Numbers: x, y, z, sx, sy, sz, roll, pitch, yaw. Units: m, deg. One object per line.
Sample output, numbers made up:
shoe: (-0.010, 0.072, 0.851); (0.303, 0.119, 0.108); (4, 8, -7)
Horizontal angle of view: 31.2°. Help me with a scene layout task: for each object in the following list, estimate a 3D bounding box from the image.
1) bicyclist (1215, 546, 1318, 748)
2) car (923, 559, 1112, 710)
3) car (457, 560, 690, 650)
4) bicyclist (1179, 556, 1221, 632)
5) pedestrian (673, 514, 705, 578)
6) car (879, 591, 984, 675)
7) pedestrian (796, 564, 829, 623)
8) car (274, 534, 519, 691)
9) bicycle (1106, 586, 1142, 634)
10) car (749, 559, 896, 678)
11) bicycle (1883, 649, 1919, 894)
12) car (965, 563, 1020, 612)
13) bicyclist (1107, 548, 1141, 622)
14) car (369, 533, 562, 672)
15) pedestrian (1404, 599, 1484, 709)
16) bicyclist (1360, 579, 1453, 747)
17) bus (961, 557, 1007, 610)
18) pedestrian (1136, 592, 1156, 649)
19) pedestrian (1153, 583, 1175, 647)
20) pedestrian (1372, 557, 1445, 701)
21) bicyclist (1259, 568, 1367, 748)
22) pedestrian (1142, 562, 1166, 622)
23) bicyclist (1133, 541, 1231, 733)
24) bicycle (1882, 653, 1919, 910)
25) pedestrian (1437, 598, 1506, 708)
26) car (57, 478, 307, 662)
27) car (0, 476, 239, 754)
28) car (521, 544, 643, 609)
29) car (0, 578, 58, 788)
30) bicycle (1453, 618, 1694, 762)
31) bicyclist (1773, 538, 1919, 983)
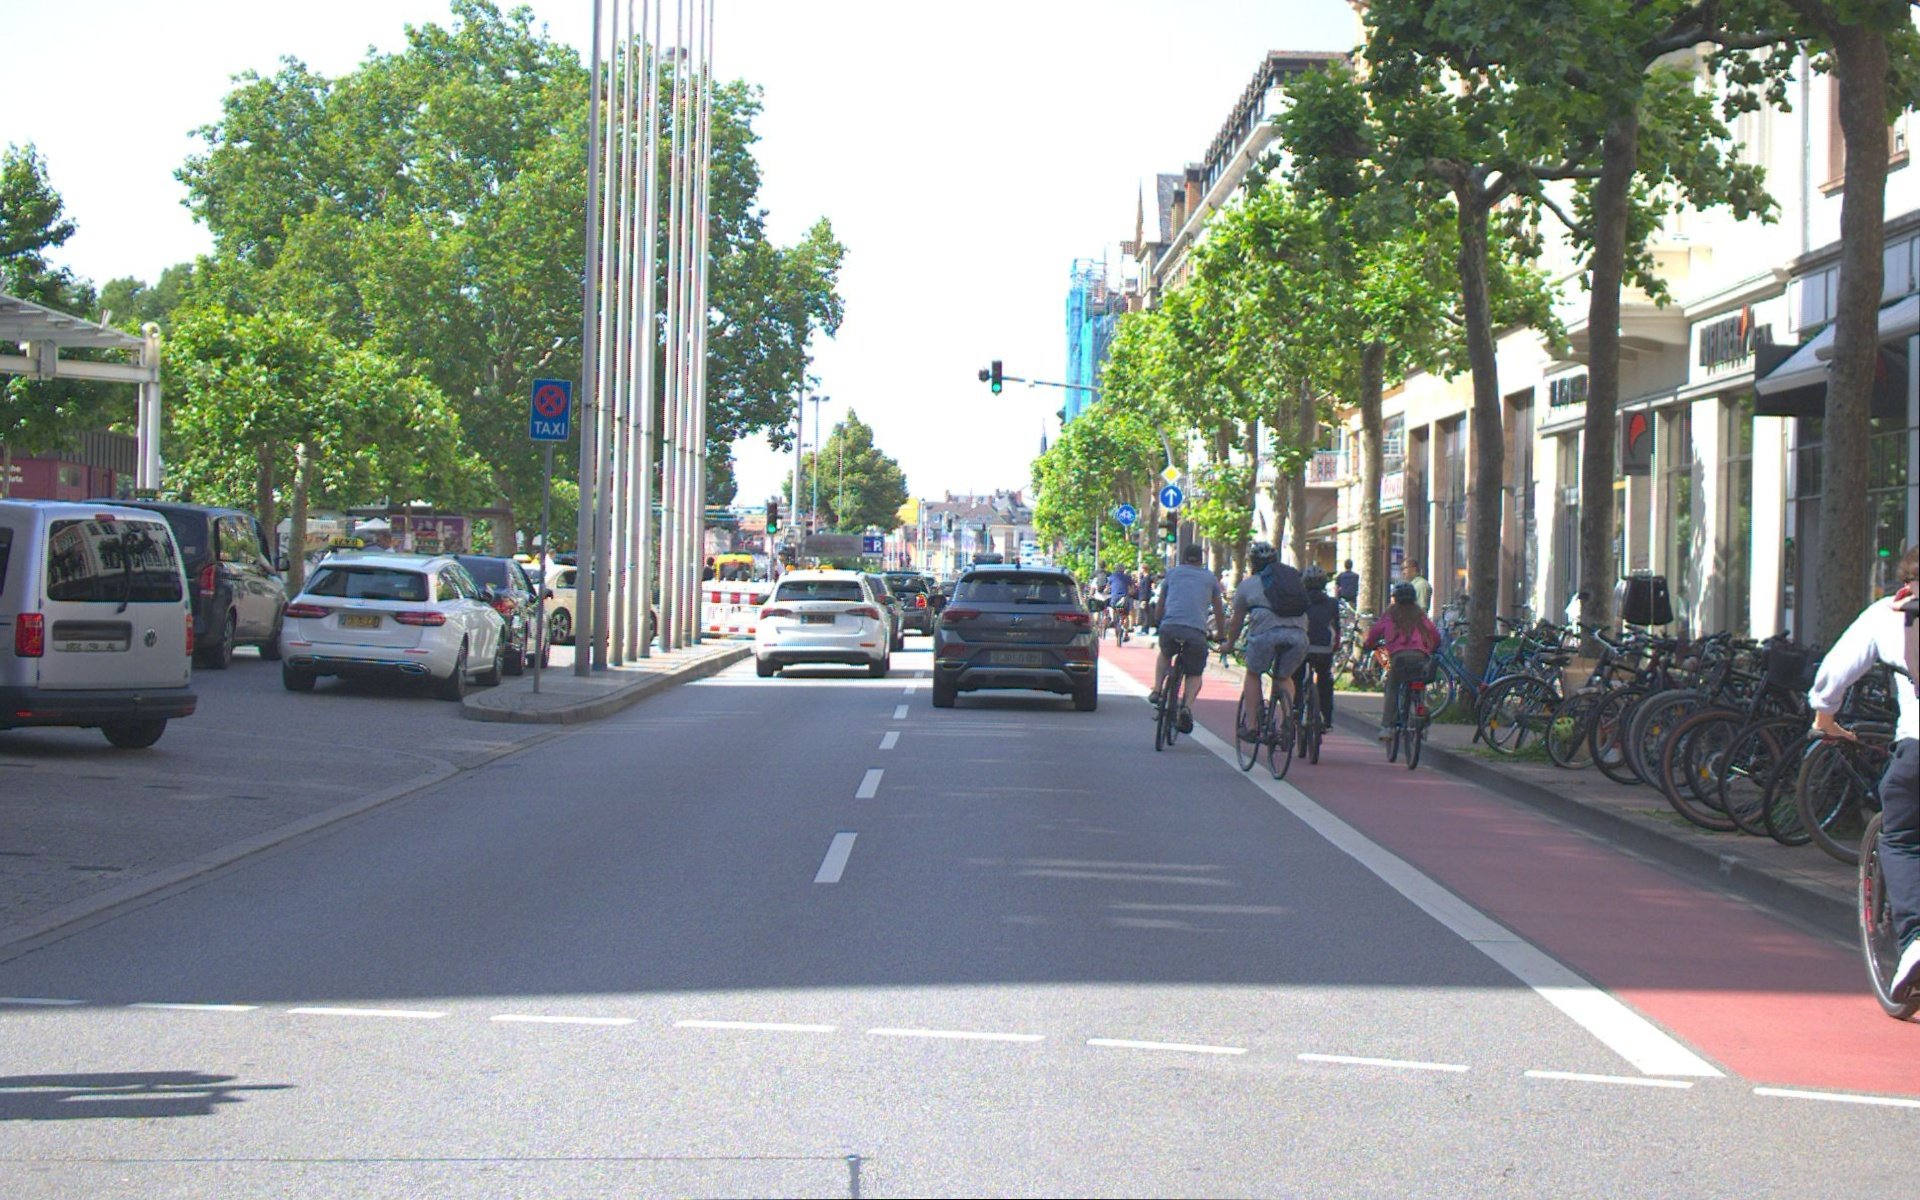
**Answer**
bicyclist: (2.309, 0.348, 25.976); (0.630, 1.476, 1.198); (1, 0, -1)
car: (0.574, 0.334, 37.809); (1.845, 1.554, 4.000); (0, 1, -2)
car: (-7.146, 0.057, 64.071); (1.894, 1.536, 4.854); (3, 2, 27)
bicyclist: (5.704, -0.148, 81.636); (0.573, 1.791, 0.857); (-1, 1, -34)
pedestrian: (-7.841, -1.566, 99.532); (0.633, 1.804, 0.730); (1, 0, 21)
car: (-0.528, 0.577, 62.778); (1.845, 1.444, 4.000); (1, 1, -1)
pedestrian: (-3.992, -0.176, 93.304); (0.633, 1.590, 0.686); (1, 0, 21)
car: (-6.020, 0.085, 37.217); (1.799, 1.518, 4.739); (2, 1, 0)
bicycle: (3.479, 0.209, 73.161); (0.647, 0.994, 2.031); (1, 0, 0)
car: (-1.862, 0.222, 47.678); (1.845, 1.554, 4.000); (1, 1, 0)
bicycle: (5.343, 0.809, 16.113); (1.840, 1.123, 0.666); (1, 0, 2)
car: (1.155, -0.485, 125.189); (1.845, 1.662, 4.000); (3, 1, -1)
bicyclist: (3.478, -0.328, 73.037); (0.647, 1.545, 0.817); (2, 0, 0)
car: (-6.115, -0.001, 43.016); (1.761, 1.594, 4.710); (2, 1, -1)
pedestrian: (5.647, 0.628, 40.151); (0.787, 1.239, 0.576); (2, -1, -2)
bicyclist: (3.683, 0.513, 28.404); (0.600, 1.353, 0.721); (2, 0, -3)
bus: (1.679, -1.145, 246.677); (2.995, 3.582, 11.745); (2, 0, -1)
pedestrian: (4.913, 0.542, 90.829); (0.523, 1.516, 0.641); (0, 0, 3)
pedestrian: (5.217, 0.388, 87.988); (0.549, 1.625, 0.589); (0, 0, 3)
pedestrian: (5.477, 0.347, 41.993); (0.639, 1.683, 0.843); (4, 1, -2)
bicyclist: (2.914, 0.471, 28.439); (0.698, 1.436, 0.791); (3, 0, -3)
pedestrian: (5.935, -0.247, 105.171); (0.610, 1.817, 0.678); (2, 0, -1)
bicyclist: (1.927, 0.315, 29.882); (0.774, 1.629, 0.851); (1, 1, 0)
bicycle: (5.111, 0.819, 15.337); (1.840, 1.123, 0.666); (1, 0, 8)
pedestrian: (5.873, 0.609, 39.520); (0.639, 1.229, 0.597); (2, -1, -2)
car: (-9.130, -0.365, 40.714); (1.832, 2.007, 4.685); (2, 1, 0)
car: (-7.681, 0.029, 25.729); (4.441, 1.903, 2.005); (2, 1, 37)
car: (-12.098, -0.736, 110.438); (1.861, 1.948, 4.755); (1, 0, 21)
car: (-8.036, 0.394, 21.879); (4.293, 1.282, 1.967); (4, 1, 31)
bicycle: (5.047, 0.736, 28.325); (1.840, 1.089, 0.564); (3, 0, 0)
bicyclist: (3.281, 0.532, 11.682); (0.698, 1.441, 0.961); (3, 0, -3)
